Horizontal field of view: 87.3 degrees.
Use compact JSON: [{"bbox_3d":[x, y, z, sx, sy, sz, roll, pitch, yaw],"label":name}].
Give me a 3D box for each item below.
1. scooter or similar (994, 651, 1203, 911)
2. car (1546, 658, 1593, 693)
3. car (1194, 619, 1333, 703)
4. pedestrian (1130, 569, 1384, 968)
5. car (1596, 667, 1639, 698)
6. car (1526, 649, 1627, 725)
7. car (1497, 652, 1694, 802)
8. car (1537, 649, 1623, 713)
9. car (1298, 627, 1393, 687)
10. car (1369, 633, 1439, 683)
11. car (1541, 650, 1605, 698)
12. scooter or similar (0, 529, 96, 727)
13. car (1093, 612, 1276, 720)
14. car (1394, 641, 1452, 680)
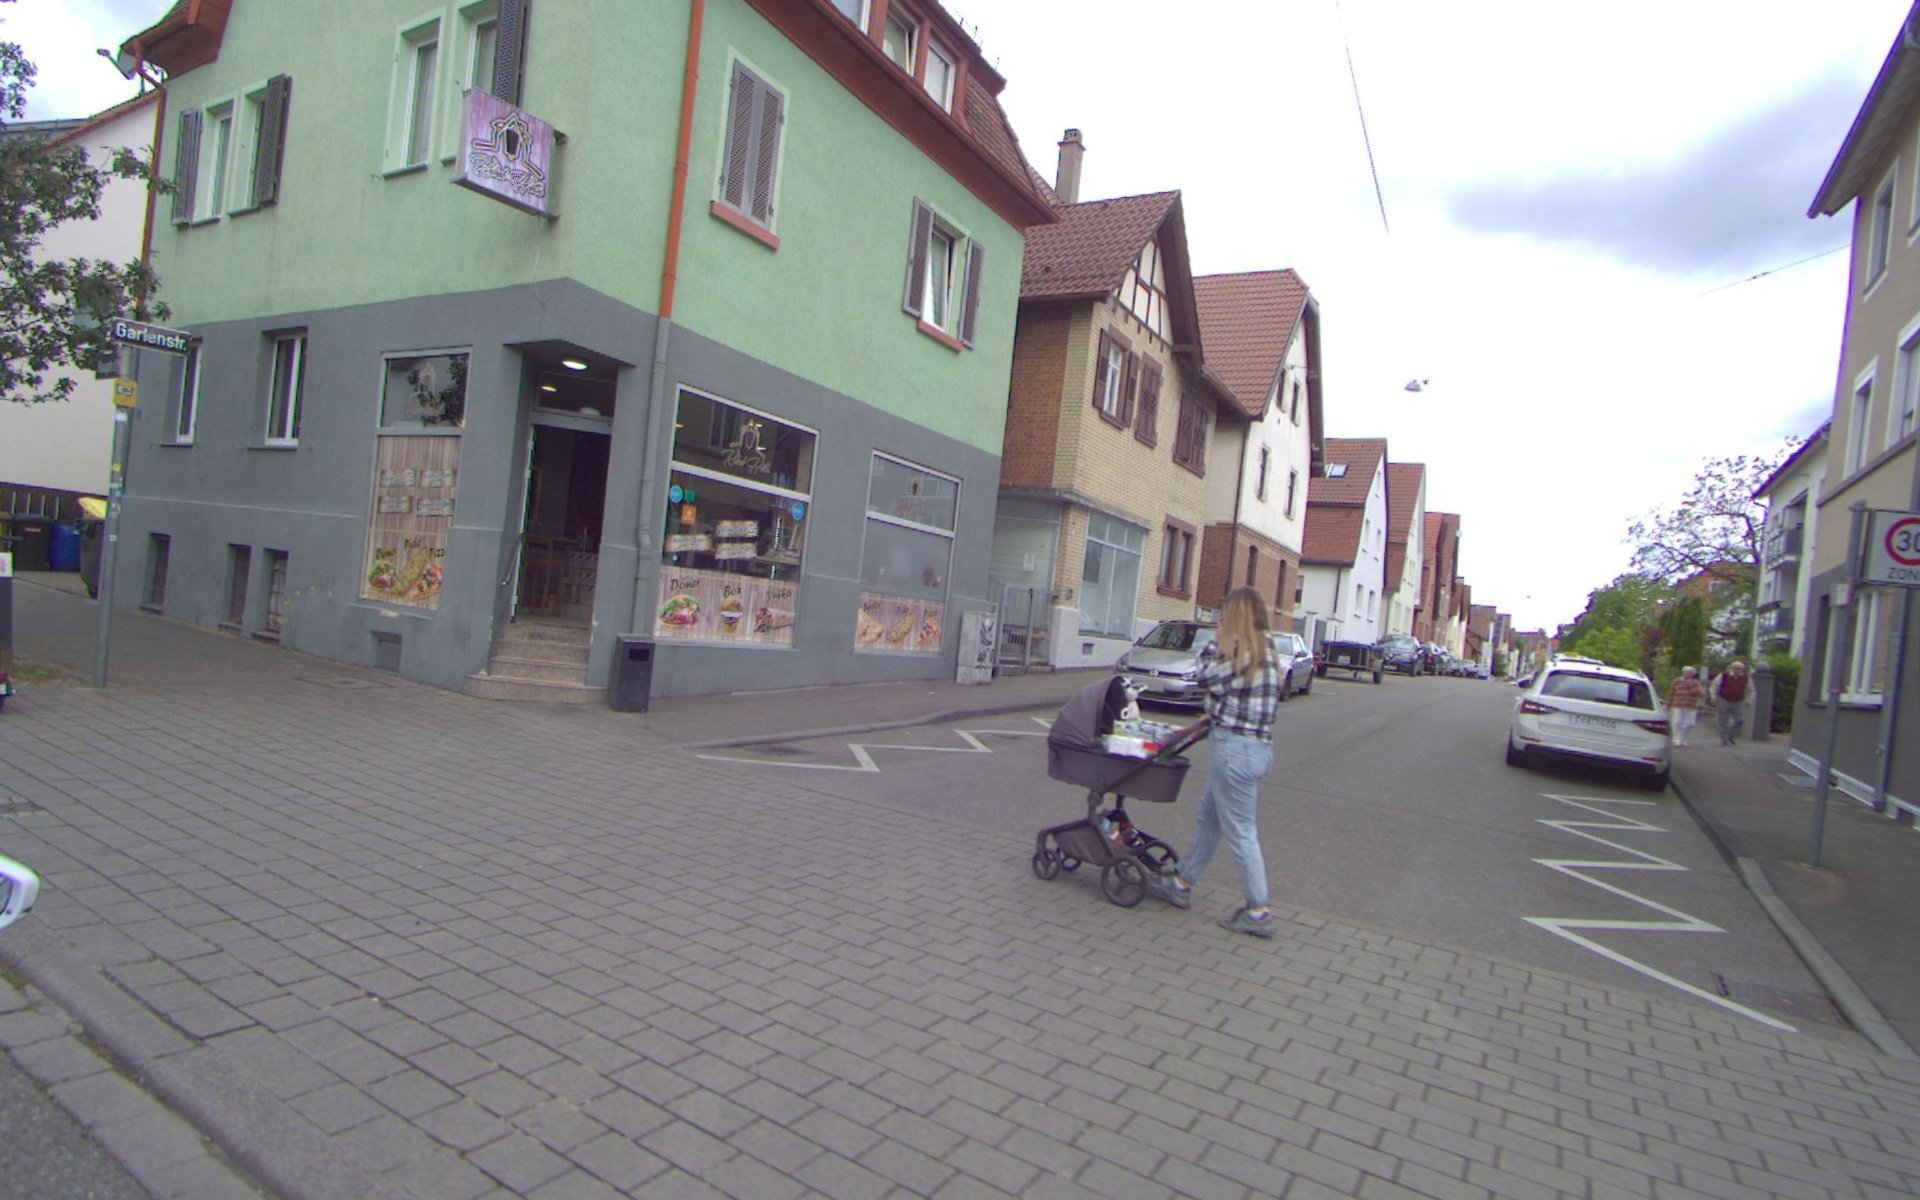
[{"bbox_3d":[0.782,0.970,5.669,0.876,1.247,0.590,6,-1,31],"label":"scooter or similar"},{"bbox_3d":[32.135,3.944,53.134,1.876,1.491,4.426,7,2,31],"label":"car"},{"bbox_3d":[6.698,1.285,21.908,1.773,1.483,4.352,6,1,31],"label":"car"},{"bbox_3d":[1.511,0.785,5.078,0.885,1.740,0.751,6,-1,32],"label":"pedestrian"},{"bbox_3d":[40.600,5.074,62.212,1.876,1.491,4.426,7,2,31],"label":"car"},{"bbox_3d":[15.708,2.136,25.736,1.876,1.491,4.426,7,2,31],"label":"car"},{"bbox_3d":[8.864,1.622,14.244,1.876,1.491,4.426,7,2,31],"label":"car"},{"bbox_3d":[18.398,2.333,29.974,1.876,1.491,4.426,7,2,31],"label":"car"},{"bbox_3d":[11.420,1.649,29.645,1.773,1.483,4.352,6,1,31],"label":"car"},{"bbox_3d":[16.885,2.156,38.118,1.773,1.612,4.352,6,1,31],"label":"car"},{"bbox_3d":[23.867,2.822,39.238,1.876,1.491,4.426,7,2,31],"label":"car"},{"bbox_3d":[-6.900,0.130,7.143,1.910,1.250,0.502,6,-1,32],"label":"scooter or similar"},{"bbox_3d":[3.978,1.078,17.329,1.773,1.483,4.049,6,1,31],"label":"car"},{"bbox_3d":[20.573,2.642,44.630,1.773,1.483,4.352,6,1,31],"label":"car"}]
